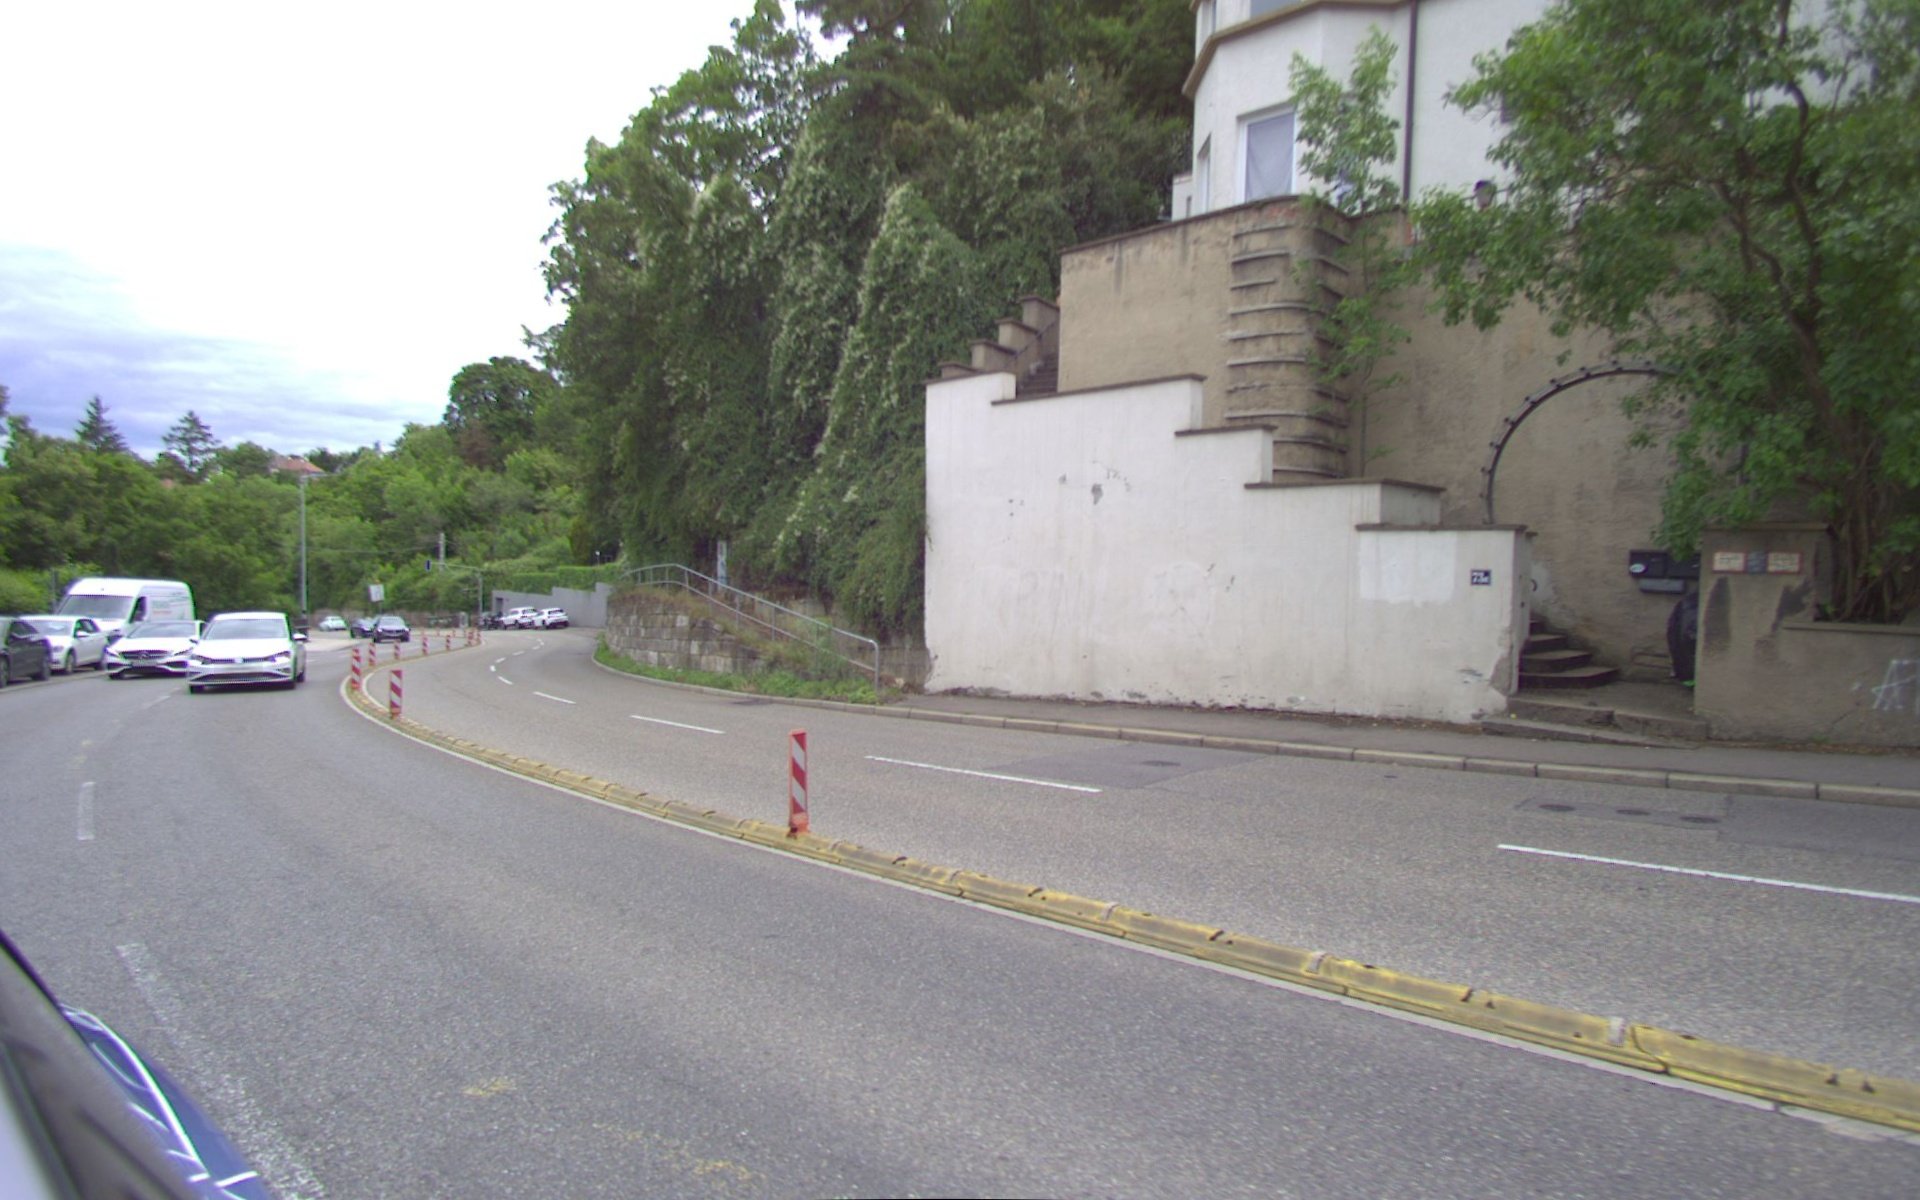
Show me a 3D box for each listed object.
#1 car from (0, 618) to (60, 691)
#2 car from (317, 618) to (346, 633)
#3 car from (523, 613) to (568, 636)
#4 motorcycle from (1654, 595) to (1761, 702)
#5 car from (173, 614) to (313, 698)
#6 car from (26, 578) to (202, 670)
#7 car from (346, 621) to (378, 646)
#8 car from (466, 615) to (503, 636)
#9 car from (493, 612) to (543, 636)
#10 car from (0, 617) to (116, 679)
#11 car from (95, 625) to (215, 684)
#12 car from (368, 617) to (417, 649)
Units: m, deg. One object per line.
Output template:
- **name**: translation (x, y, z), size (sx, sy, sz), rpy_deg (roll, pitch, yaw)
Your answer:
- **car**: translation (-20.698, 1.118, 21.234), size (1.677, 1.475, 4.678), rpy_deg (1, -1, -29)
- **car**: translation (-64.598, 2.630, 104.005), size (3.661, 1.477, 1.692), rpy_deg (-2, 1, 43)
- **car**: translation (-31.779, 1.855, 77.579), size (1.810, 1.584, 4.482), rpy_deg (-3, 2, -40)
- **motorcycle**: translation (8.223, 0.494, 11.191), size (0.526, 1.038, 1.590), rpy_deg (1, 2, 21)
- **car**: translation (-14.919, 1.107, 21.276), size (1.854, 1.590, 4.013), rpy_deg (1, -2, -28)
- **car**: translation (-25.856, 0.738, 31.241), size (2.055, 2.542, 5.862), rpy_deg (2, -2, -18)
- **car**: translation (-45.992, 2.540, 77.816), size (1.966, 1.718, 4.012), rpy_deg (-3, 1, -32)
- **car**: translation (-39.861, 2.150, 84.851), size (2.956, 1.584, 1.694), rpy_deg (-3, 2, 41)
- **car**: translation (-35.707, 1.929, 81.733), size (4.761, 1.744, 1.839), rpy_deg (-1, 2, 43)
- **car**: translation (-23.234, 1.167, 25.831), size (1.676, 1.475, 3.847), rpy_deg (1, -1, -25)
- **car**: translation (-20.371, 1.336, 25.779), size (1.768, 1.316, 4.113), rpy_deg (-1, -1, -30)
- **car**: translation (-35.966, 2.055, 64.209), size (1.966, 1.718, 4.013), rpy_deg (-3, 1, -19)
